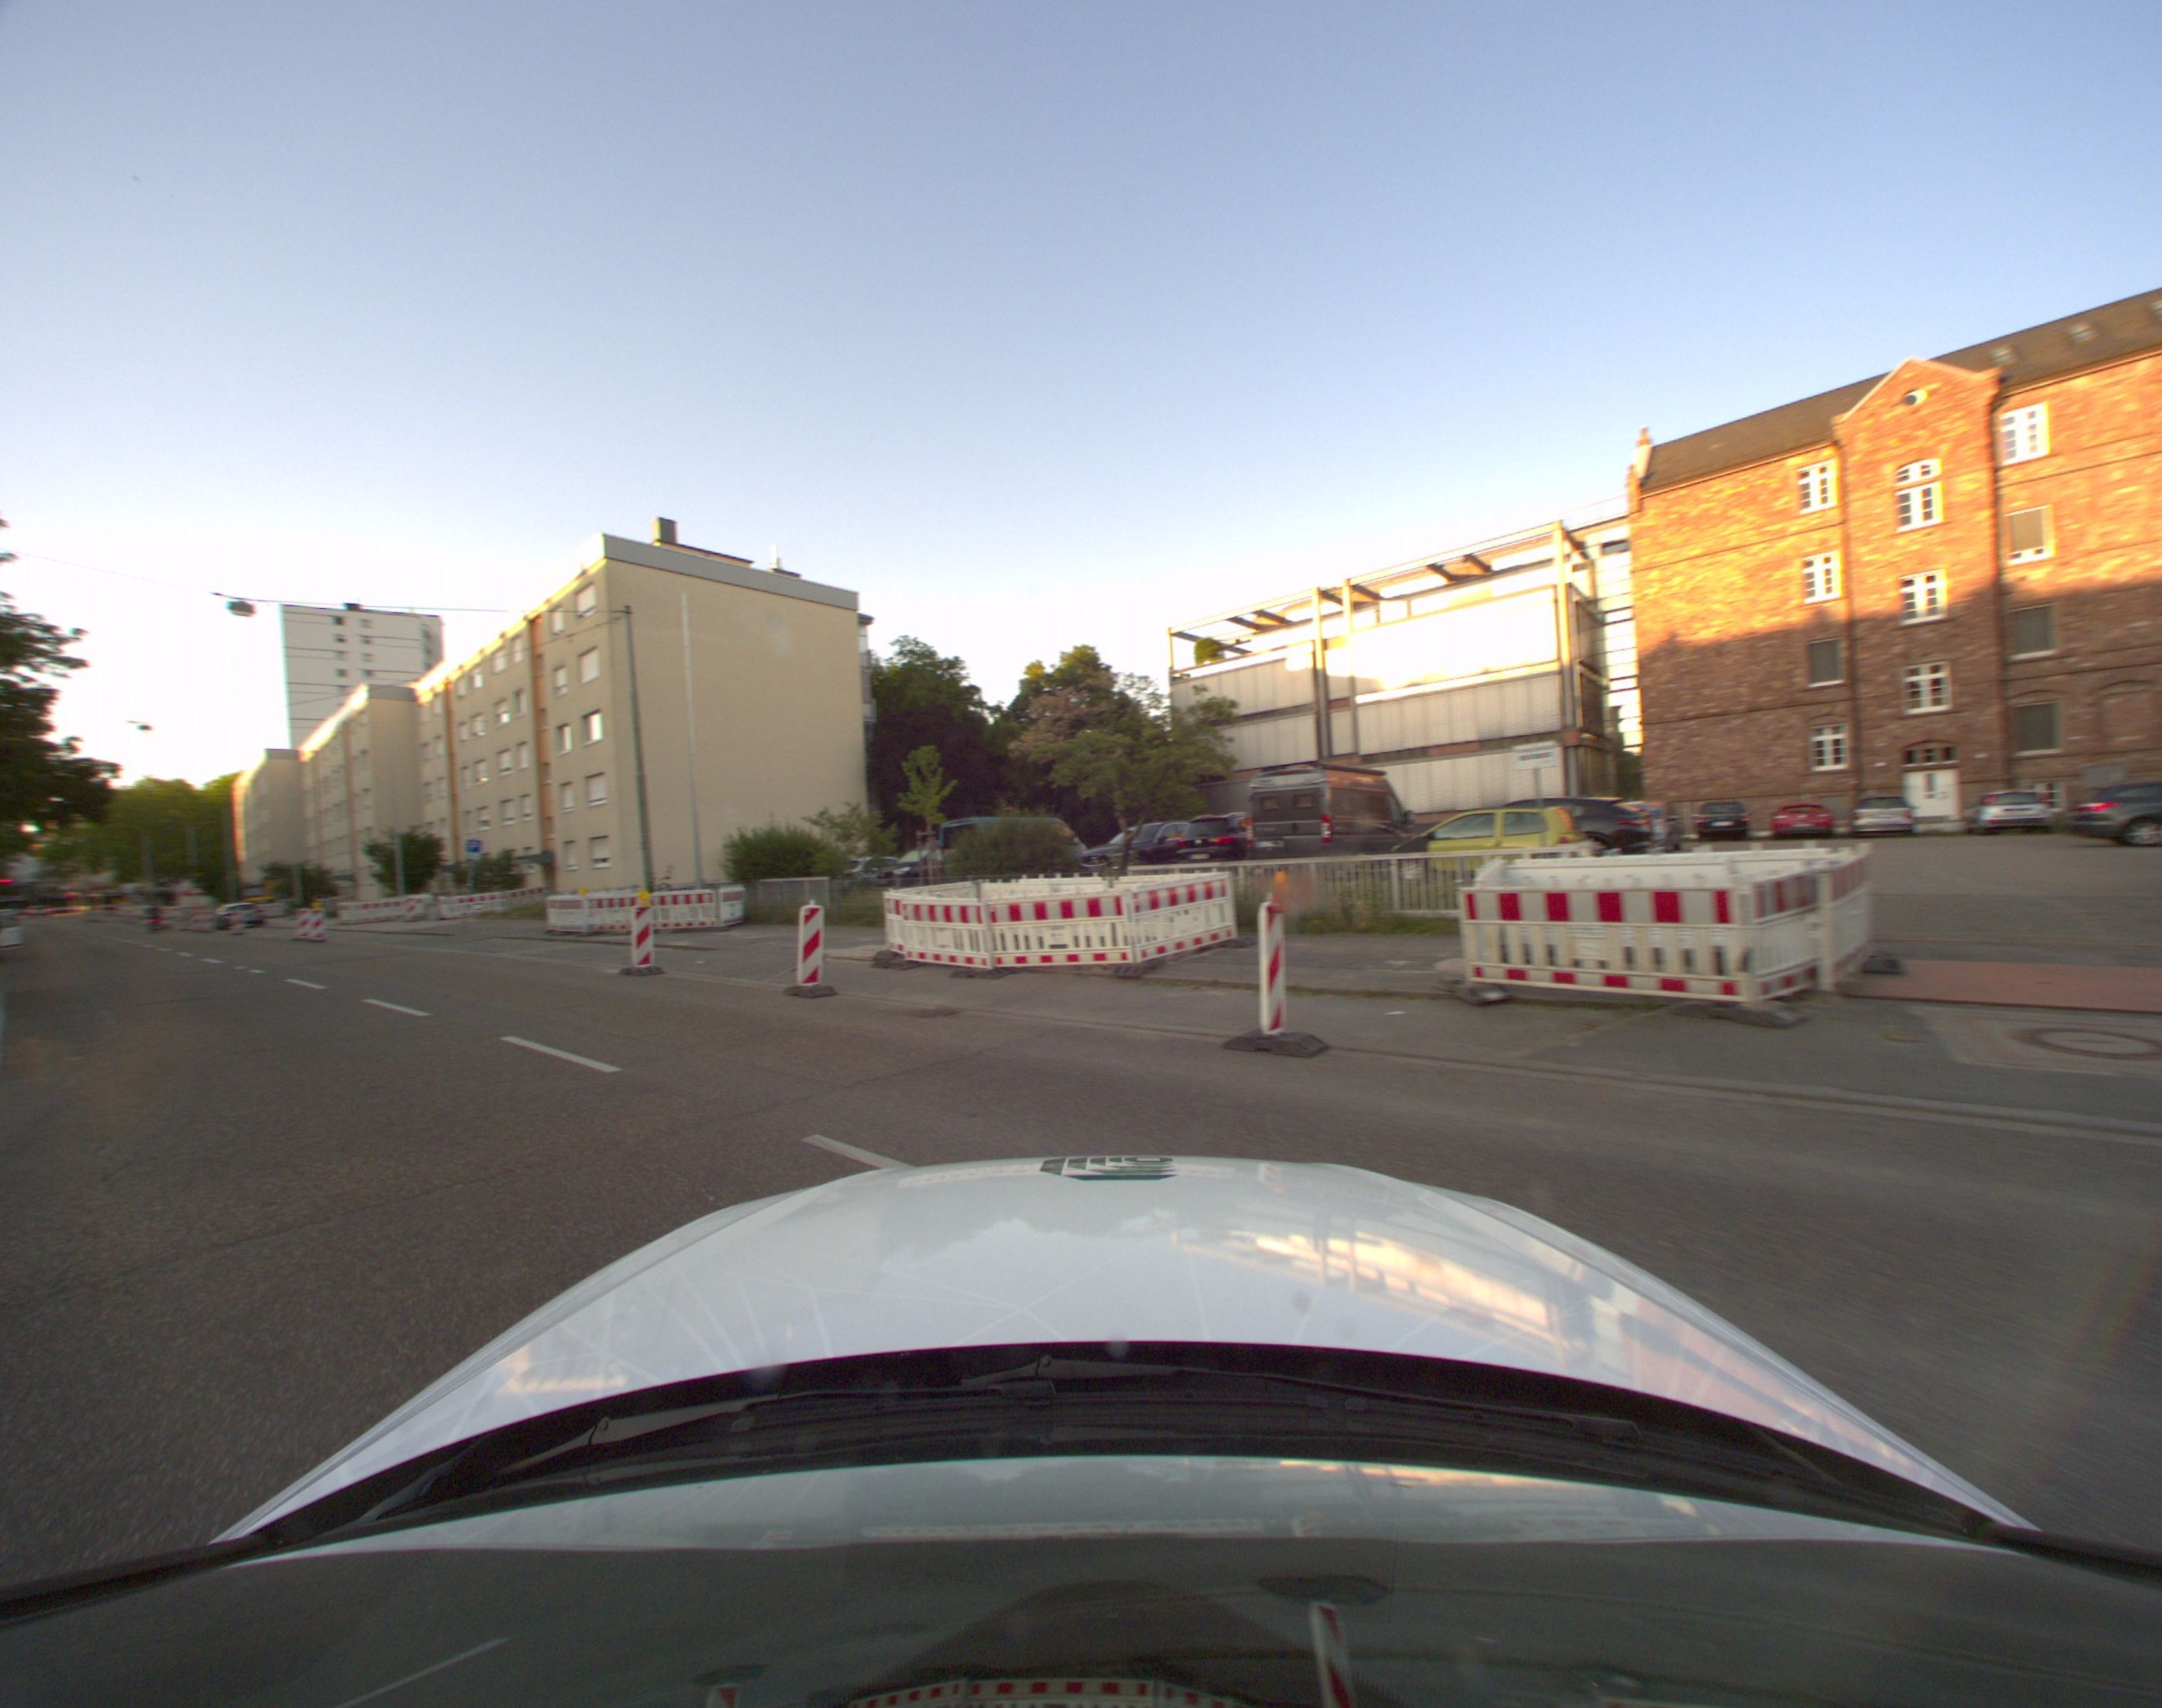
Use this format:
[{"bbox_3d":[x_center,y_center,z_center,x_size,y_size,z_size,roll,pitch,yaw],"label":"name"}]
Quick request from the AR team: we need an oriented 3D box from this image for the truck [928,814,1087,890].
[{"bbox_3d":[-2.195,-0.113,25.191,2.086,2.090,4.540,-3,0,45],"label":"truck"}]

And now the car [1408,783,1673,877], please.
[{"bbox_3d":[9.514,-0.436,17.133,4.540,1.638,1.585,-3,0,43],"label":"car"}]

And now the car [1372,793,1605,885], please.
[{"bbox_3d":[7.677,-0.242,15.528,3.597,1.503,1.647,-3,0,43],"label":"car"}]

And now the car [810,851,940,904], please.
[{"bbox_3d":[-7.605,0.852,30.320,1.974,1.647,4.253,-3,0,41],"label":"car"}]

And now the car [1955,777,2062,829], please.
[{"bbox_3d":[31.950,-1.740,28.190,1.878,1.537,4.205,-3,1,42],"label":"car"}]

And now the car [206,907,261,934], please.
[{"bbox_3d":[-50.580,3.928,48.600,3.948,1.390,1.797,-3,0,37],"label":"car"}]

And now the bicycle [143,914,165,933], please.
[{"bbox_3d":[-56.793,4.254,49.901,3.015,1.115,0.647,-3,0,37],"label":"bicycle"}]

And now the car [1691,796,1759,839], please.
[{"bbox_3d":[26.519,-1.517,33.496,1.878,1.537,4.205,-3,1,42],"label":"car"}]

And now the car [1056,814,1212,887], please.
[{"bbox_3d":[1.545,-0.140,22.106,1.974,1.727,4.329,-3,1,39],"label":"car"}]

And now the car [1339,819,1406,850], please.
[{"bbox_3d":[15.565,-1.072,43.338,1.878,1.432,4.205,-3,1,42],"label":"car"}]

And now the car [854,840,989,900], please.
[{"bbox_3d":[-5.527,0.528,28.596,1.974,1.826,4.253,-3,0,41],"label":"car"}]

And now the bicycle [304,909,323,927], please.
[{"bbox_3d":[-51.781,4.302,54.958,2.206,1.107,0.623,-3,0,39],"label":"bicycle"}]

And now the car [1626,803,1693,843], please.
[{"bbox_3d":[25.056,-1.371,35.218,1.878,1.537,4.205,-3,1,42],"label":"car"}]

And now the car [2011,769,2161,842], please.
[{"bbox_3d":[24.040,-1.142,18.211,4.087,1.482,1.652,-3,0,44],"label":"car"}]

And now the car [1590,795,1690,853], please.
[{"bbox_3d":[17.513,-0.962,25.405,1.974,1.576,4.392,-3,1,42],"label":"car"}]

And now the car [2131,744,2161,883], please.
[{"bbox_3d":[14.908,-0.585,8.676,4.228,1.708,1.714,-3,0,41],"label":"car"}]

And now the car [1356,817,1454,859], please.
[{"bbox_3d":[12.037,-0.626,30.086,1.921,1.305,4.392,-3,1,42],"label":"car"}]

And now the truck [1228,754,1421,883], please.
[{"bbox_3d":[5.896,-0.820,19.275,2.311,2.616,5.004,-3,1,42],"label":"truck"}]

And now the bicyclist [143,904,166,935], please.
[{"bbox_3d":[-56.836,4.020,49.945,1.004,1.800,0.799,-3,0,37],"label":"bicyclist"}]

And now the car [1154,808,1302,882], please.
[{"bbox_3d":[3.896,-0.271,21.134,1.974,1.692,4.026,-3,1,39],"label":"car"}]

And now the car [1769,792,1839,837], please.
[{"bbox_3d":[28.099,-1.557,31.685,1.878,1.537,4.205,-3,1,42],"label":"car"}]

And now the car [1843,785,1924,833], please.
[{"bbox_3d":[29.724,-1.670,30.286,1.878,1.537,4.205,-3,1,42],"label":"car"}]

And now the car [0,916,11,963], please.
[{"bbox_3d":[-39.316,3.113,28.712,3.876,1.603,1.774,-3,3,37],"label":"car"}]

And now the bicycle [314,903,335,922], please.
[{"bbox_3d":[-47.325,3.649,50.967,2.206,1.107,0.623,-3,0,39],"label":"bicycle"}]
